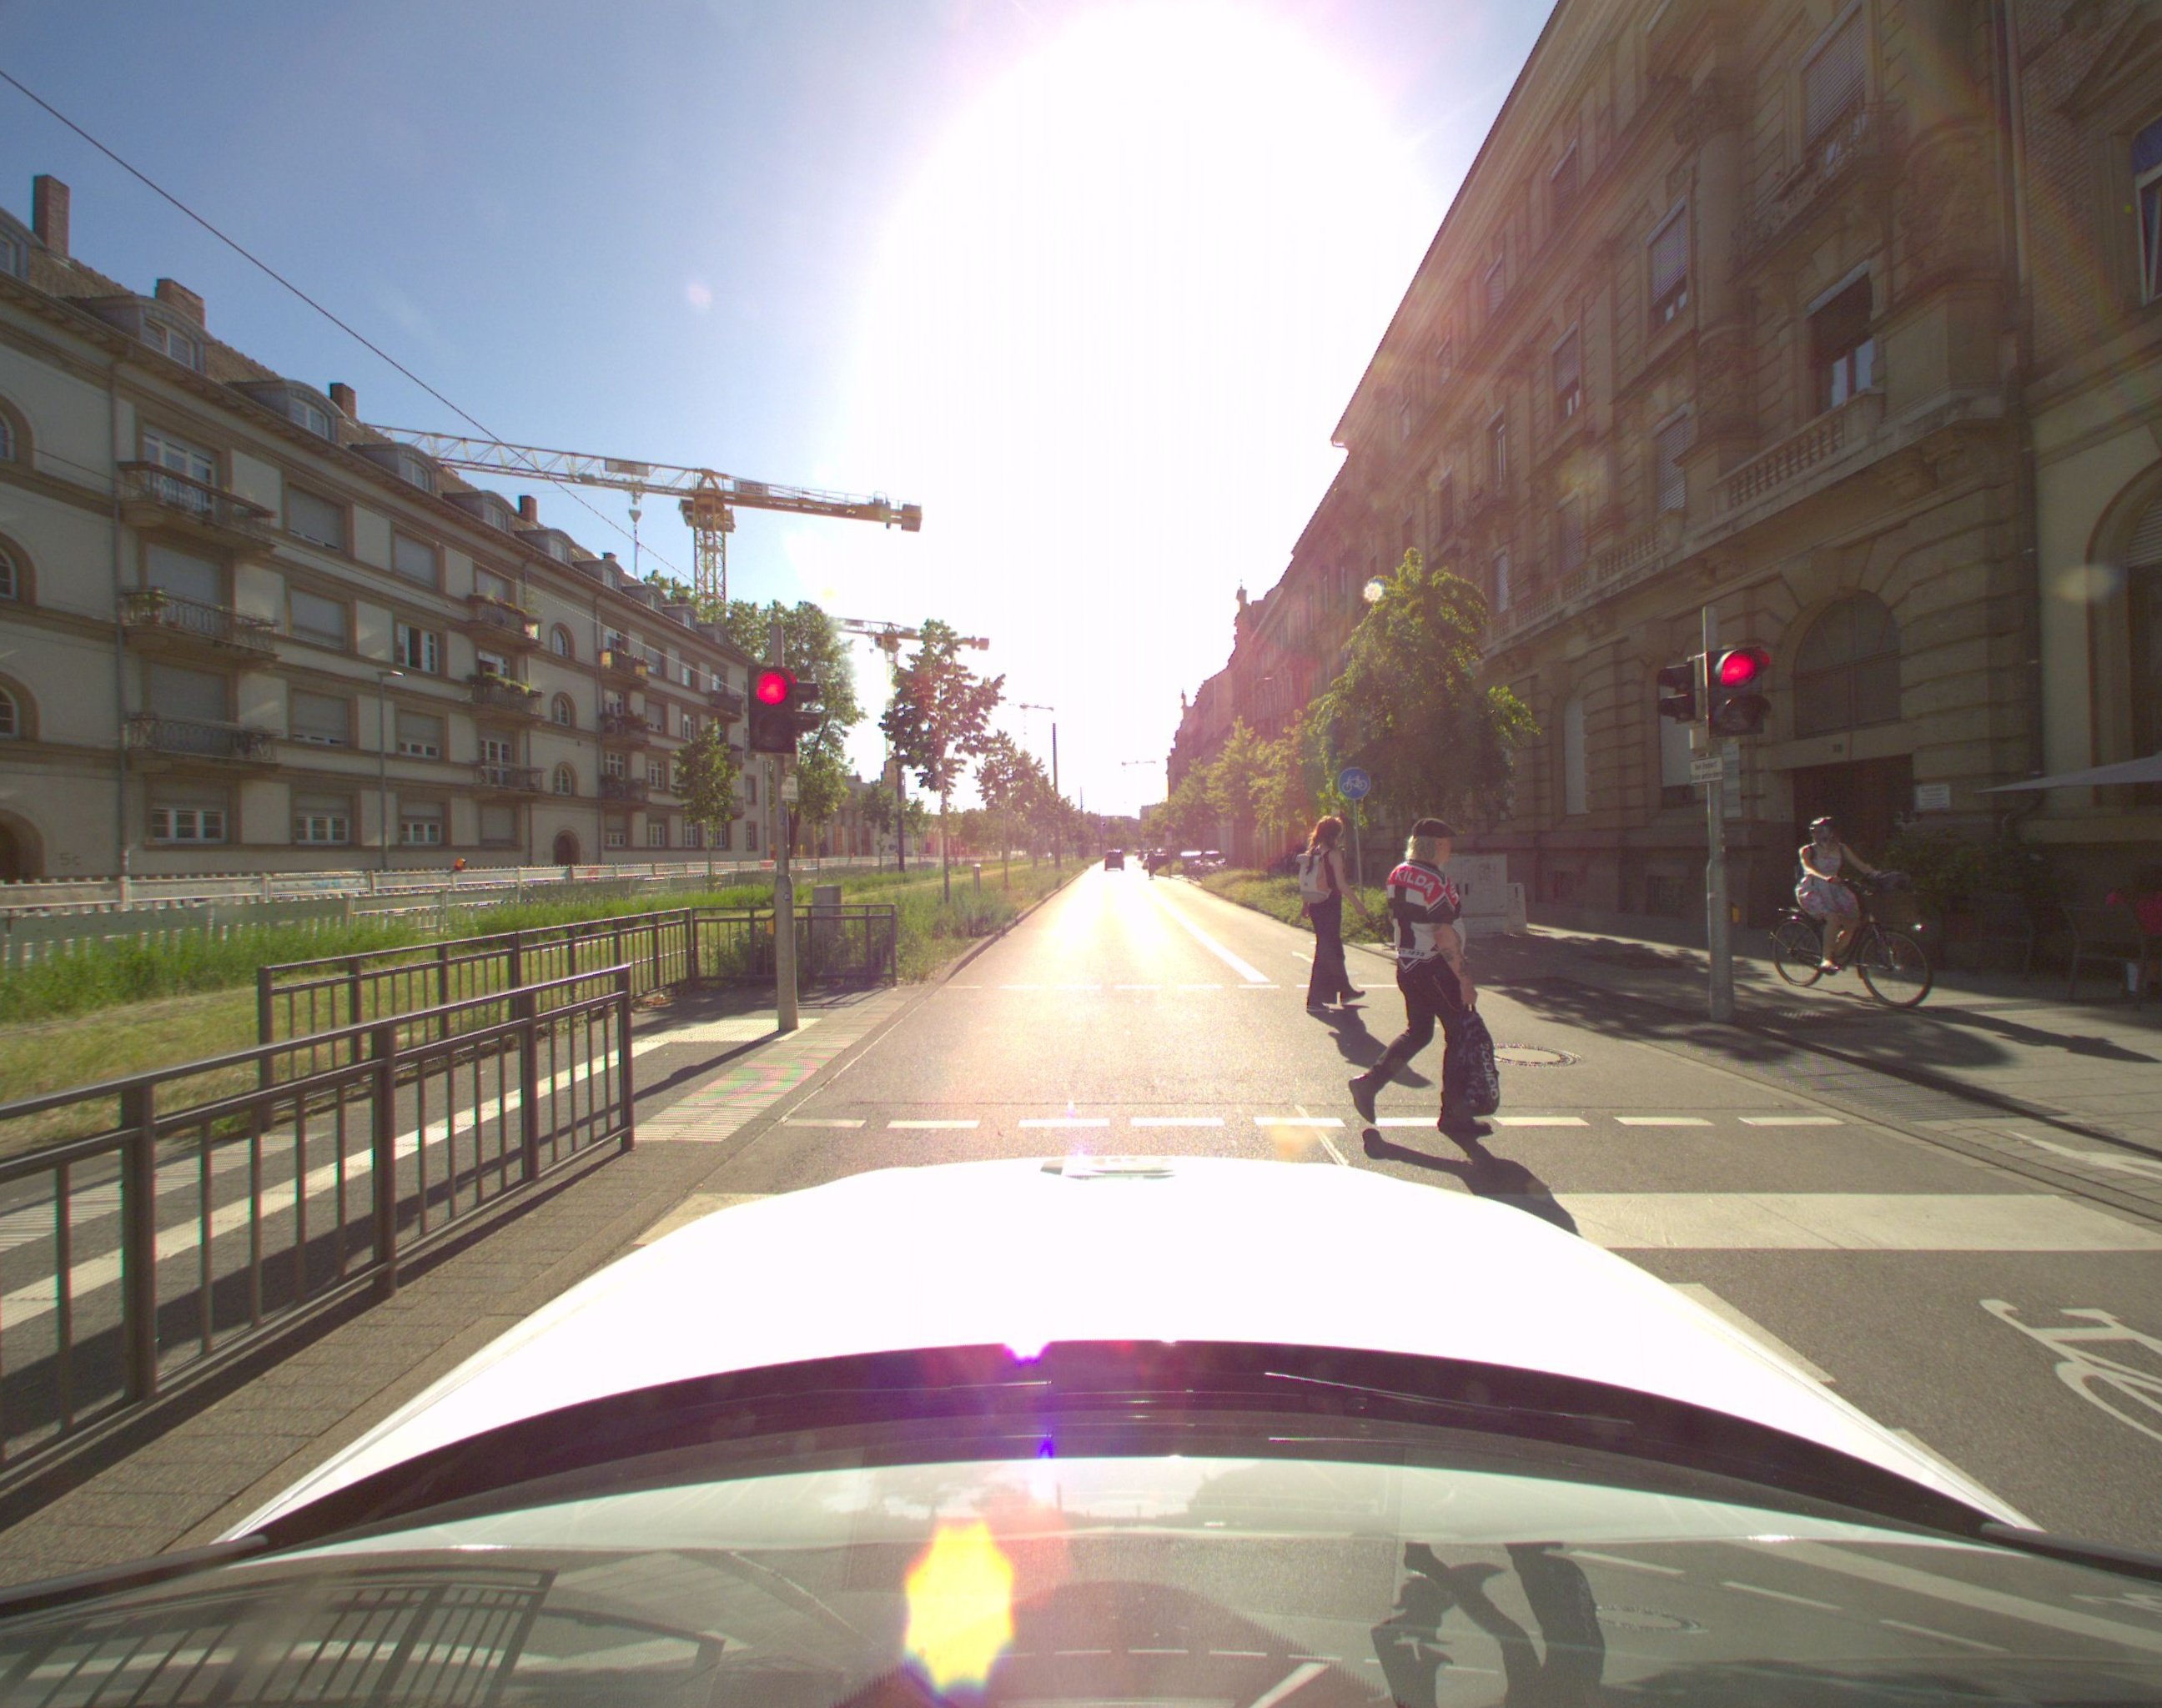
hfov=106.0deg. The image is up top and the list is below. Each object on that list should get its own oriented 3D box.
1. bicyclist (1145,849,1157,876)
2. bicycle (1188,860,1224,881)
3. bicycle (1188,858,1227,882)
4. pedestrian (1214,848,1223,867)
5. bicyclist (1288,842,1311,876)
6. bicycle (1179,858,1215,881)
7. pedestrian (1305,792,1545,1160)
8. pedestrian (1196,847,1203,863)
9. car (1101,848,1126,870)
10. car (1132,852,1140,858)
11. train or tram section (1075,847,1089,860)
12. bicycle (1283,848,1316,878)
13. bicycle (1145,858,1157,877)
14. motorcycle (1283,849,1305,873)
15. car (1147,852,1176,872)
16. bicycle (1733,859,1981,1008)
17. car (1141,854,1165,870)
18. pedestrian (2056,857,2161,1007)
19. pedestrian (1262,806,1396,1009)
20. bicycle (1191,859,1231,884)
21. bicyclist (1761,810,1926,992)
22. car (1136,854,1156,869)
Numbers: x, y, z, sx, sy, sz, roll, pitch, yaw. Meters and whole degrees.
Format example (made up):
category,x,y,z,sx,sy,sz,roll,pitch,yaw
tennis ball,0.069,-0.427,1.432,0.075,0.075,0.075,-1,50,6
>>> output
category,x,y,z,sx,sy,sz,roll,pitch,yaw
bicyclist,4.370,0.502,50.674,0.681,1.673,0.922,0,0,1
bicycle,6.509,0.860,42.532,1.786,1.030,0.528,-2,0,1
bicycle,6.335,0.790,40.927,1.786,1.030,0.528,-6,0,1
pedestrian,11.571,0.295,68.631,0.611,1.611,0.669,-2,0,1
bicyclist,10.187,0.232,37.997,0.660,1.530,0.798,-6,0,-10
bicycle,6.270,0.837,43.963,1.786,1.030,0.528,-6,0,1
pedestrian,1.833,0.591,4.497,0.863,1.788,0.969,-1,0,-5
pedestrian,12.549,0.111,85.978,0.611,1.611,0.669,-2,0,1
car,3.030,0.461,76.004,2.192,1.926,4.655,-2,0,2
car,15.170,0.243,223.194,1.986,1.729,4.001,0,-1,2
train or tram section,0.312,-0.019,171.377,2.746,2.743,9.866,0,-1,2
bicycle,10.202,0.415,38.047,0.615,1.330,1.893,-6,0,-10
bicycle,4.350,0.822,50.527,0.599,1.181,1.870,0,0,1
motorcycle,11.488,0.361,44.036,0.697,1.267,1.983,-2,0,2
car,6.600,0.639,67.440,2.020,1.499,4.655,-2,0,2
bicycle,7.346,0.679,7.860,0.581,1.222,1.900,-2,0,1
car,6.993,0.742,79.784,2.020,1.499,4.532,-2,0,2
pedestrian,9.061,0.633,6.933,0.703,1.178,0.635,-3,0,1
pedestrian,2.453,0.508,8.139,1.073,1.908,0.652,-2,0,-5
bicycle,6.300,0.835,39.553,1.786,1.030,0.528,-6,0,1
bicyclist,7.342,0.427,7.893,0.664,1.639,0.961,-2,0,1
car,7.337,0.837,92.312,2.020,1.499,4.532,-2,0,2
